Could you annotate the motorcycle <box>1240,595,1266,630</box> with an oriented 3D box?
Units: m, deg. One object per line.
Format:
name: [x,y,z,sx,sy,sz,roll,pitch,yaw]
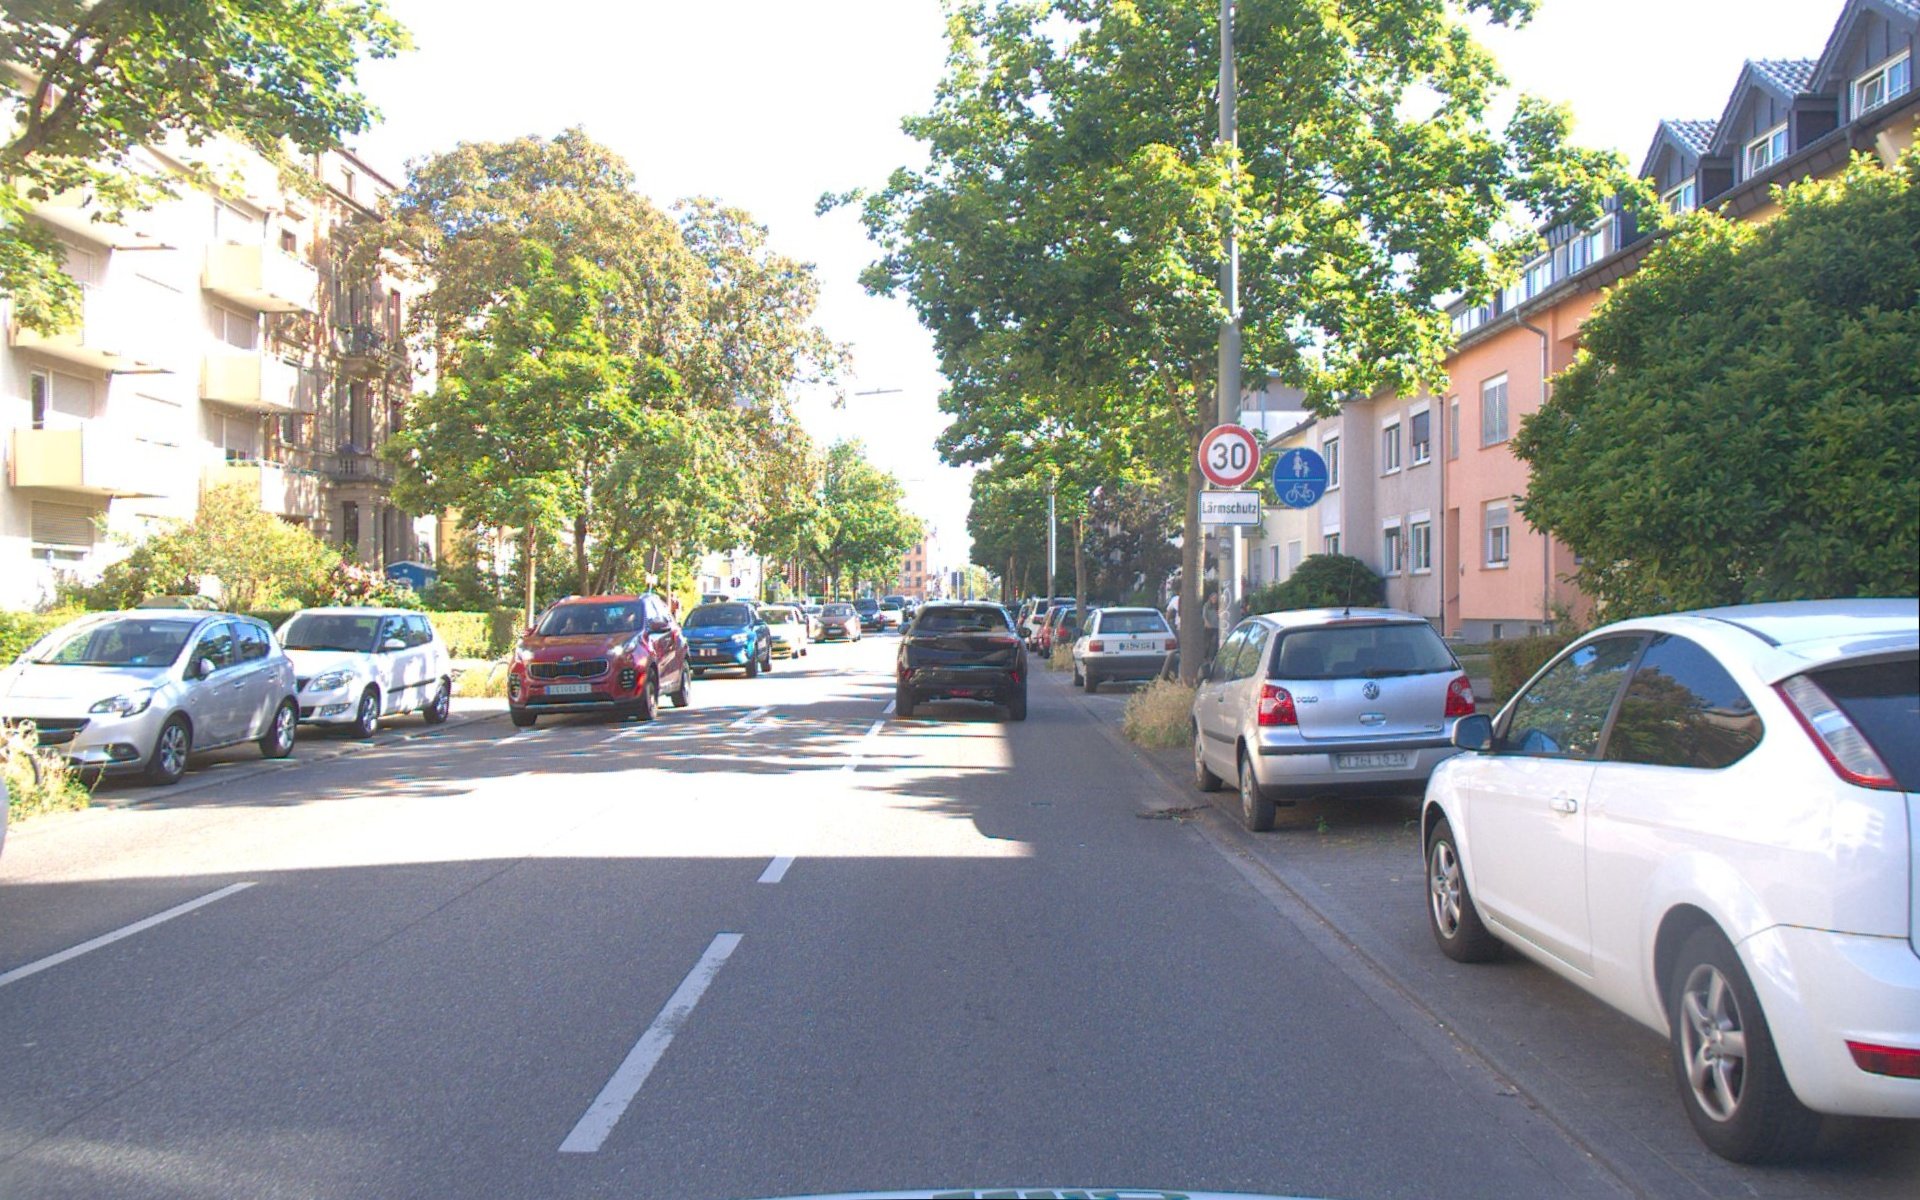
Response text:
motorcycle: [12.151,0.511,68.678,0.623,1.400,2.425,-1,0,0]

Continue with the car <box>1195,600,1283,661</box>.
car: [6.909,0.733,41.219,1.500,1.379,3.717,-3,0,0]

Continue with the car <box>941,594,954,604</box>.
car: [-1.795,-0.125,239.269,1.736,1.478,3.883,0,0,-2]

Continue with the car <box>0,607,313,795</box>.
car: [-7.548,0.835,15.475,1.473,1.501,3.895,1,0,-1]

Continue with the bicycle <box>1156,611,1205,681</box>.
bicycle: [4.219,0.860,31.713,0.683,1.269,1.822,-1,0,0]

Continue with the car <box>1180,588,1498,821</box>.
car: [2.729,0.691,12.712,1.535,1.482,3.865,-1,0,0]

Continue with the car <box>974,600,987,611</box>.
car: [3.235,0.829,257.438,1.952,1.546,4.001,3,-1,2]

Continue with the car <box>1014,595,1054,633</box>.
car: [3.035,0.564,68.324,1.586,1.525,3.649,-1,0,1]

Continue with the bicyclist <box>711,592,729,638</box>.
bicyclist: [-9.543,0.594,65.742,0.596,1.785,0.691,0,0,0]

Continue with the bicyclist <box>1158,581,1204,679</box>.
bicyclist: [4.219,0.570,31.680,0.709,1.824,1.015,-1,0,0]

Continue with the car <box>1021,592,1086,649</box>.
car: [2.946,0.629,52.838,1.733,1.688,4.340,-1,0,-1]

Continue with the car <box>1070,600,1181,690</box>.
car: [2.847,0.740,29.151,1.615,1.427,3.970,-2,0,1]

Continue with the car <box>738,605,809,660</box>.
car: [-5.170,0.874,46.183,1.601,1.428,3.735,-2,0,-1]

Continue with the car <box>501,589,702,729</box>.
car: [-4.772,0.721,22.619,1.686,1.645,4.300,-3,0,1]

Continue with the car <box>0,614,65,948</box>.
car: [-5.210,0.833,5.515,1.776,1.490,4.778,-2,0,1]

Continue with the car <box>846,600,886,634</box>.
car: [-4.801,0.840,84.777,1.799,1.642,4.400,-2,0,-1]

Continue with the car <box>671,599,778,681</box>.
car: [-4.916,0.801,34.983,1.622,1.544,4.076,-3,0,0]

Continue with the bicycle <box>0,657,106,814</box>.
bicycle: [-7.540,0.990,12.522,1.789,1.106,0.560,3,-1,-1]

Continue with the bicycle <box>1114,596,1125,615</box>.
bicycle: [11.576,0.407,120.217,0.579,1.310,1.689,-3,0,1]

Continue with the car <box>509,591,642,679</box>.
car: [-7.686,0.671,33.430,1.636,1.633,4.394,1,0,0]

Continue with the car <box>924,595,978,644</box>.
car: [-0.283,0.654,56.779,1.792,1.606,3.839,0,0,1]

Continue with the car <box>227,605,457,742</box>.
car: [-7.522,0.835,20.480,1.372,1.515,3.686,1,0,1]

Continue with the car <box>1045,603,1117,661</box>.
car: [2.980,0.765,41.234,1.500,1.379,3.717,-1,0,0]

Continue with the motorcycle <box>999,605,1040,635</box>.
motorcycle: [2.628,0.896,73.282,0.689,1.294,2.410,-1,0,-27]

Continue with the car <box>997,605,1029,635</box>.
car: [2.677,1.015,84.644,1.553,1.420,4.454,-2,0,1]

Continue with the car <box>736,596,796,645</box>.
car: [-6.767,0.684,58.165,1.591,1.616,4.347,2,0,-1]

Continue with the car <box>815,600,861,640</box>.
car: [-4.743,0.759,64.583,1.549,1.477,3.744,-1,0,-1]

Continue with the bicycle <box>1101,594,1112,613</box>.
bicycle: [10.653,0.269,120.302,0.610,1.310,1.842,-3,0,1]

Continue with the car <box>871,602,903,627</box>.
car: [-4.424,0.865,100.768,1.698,1.437,4.192,-2,0,0]

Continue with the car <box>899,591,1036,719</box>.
car: [0.099,0.716,22.944,1.709,1.601,3.558,1,0,0]

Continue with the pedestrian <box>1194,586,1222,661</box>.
pedestrian: [5.738,0.539,38.272,0.527,1.706,0.493,-1,-1,0]

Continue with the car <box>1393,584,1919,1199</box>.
car: [2.920,0.713,5.819,1.703,1.508,4.196,-1,0,1]

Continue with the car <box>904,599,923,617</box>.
car: [-4.675,0.779,166.461,1.769,1.677,4.672,-2,0,-1]

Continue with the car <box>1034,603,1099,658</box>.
car: [2.934,0.824,46.189,1.500,1.475,3.717,-1,0,-1]
